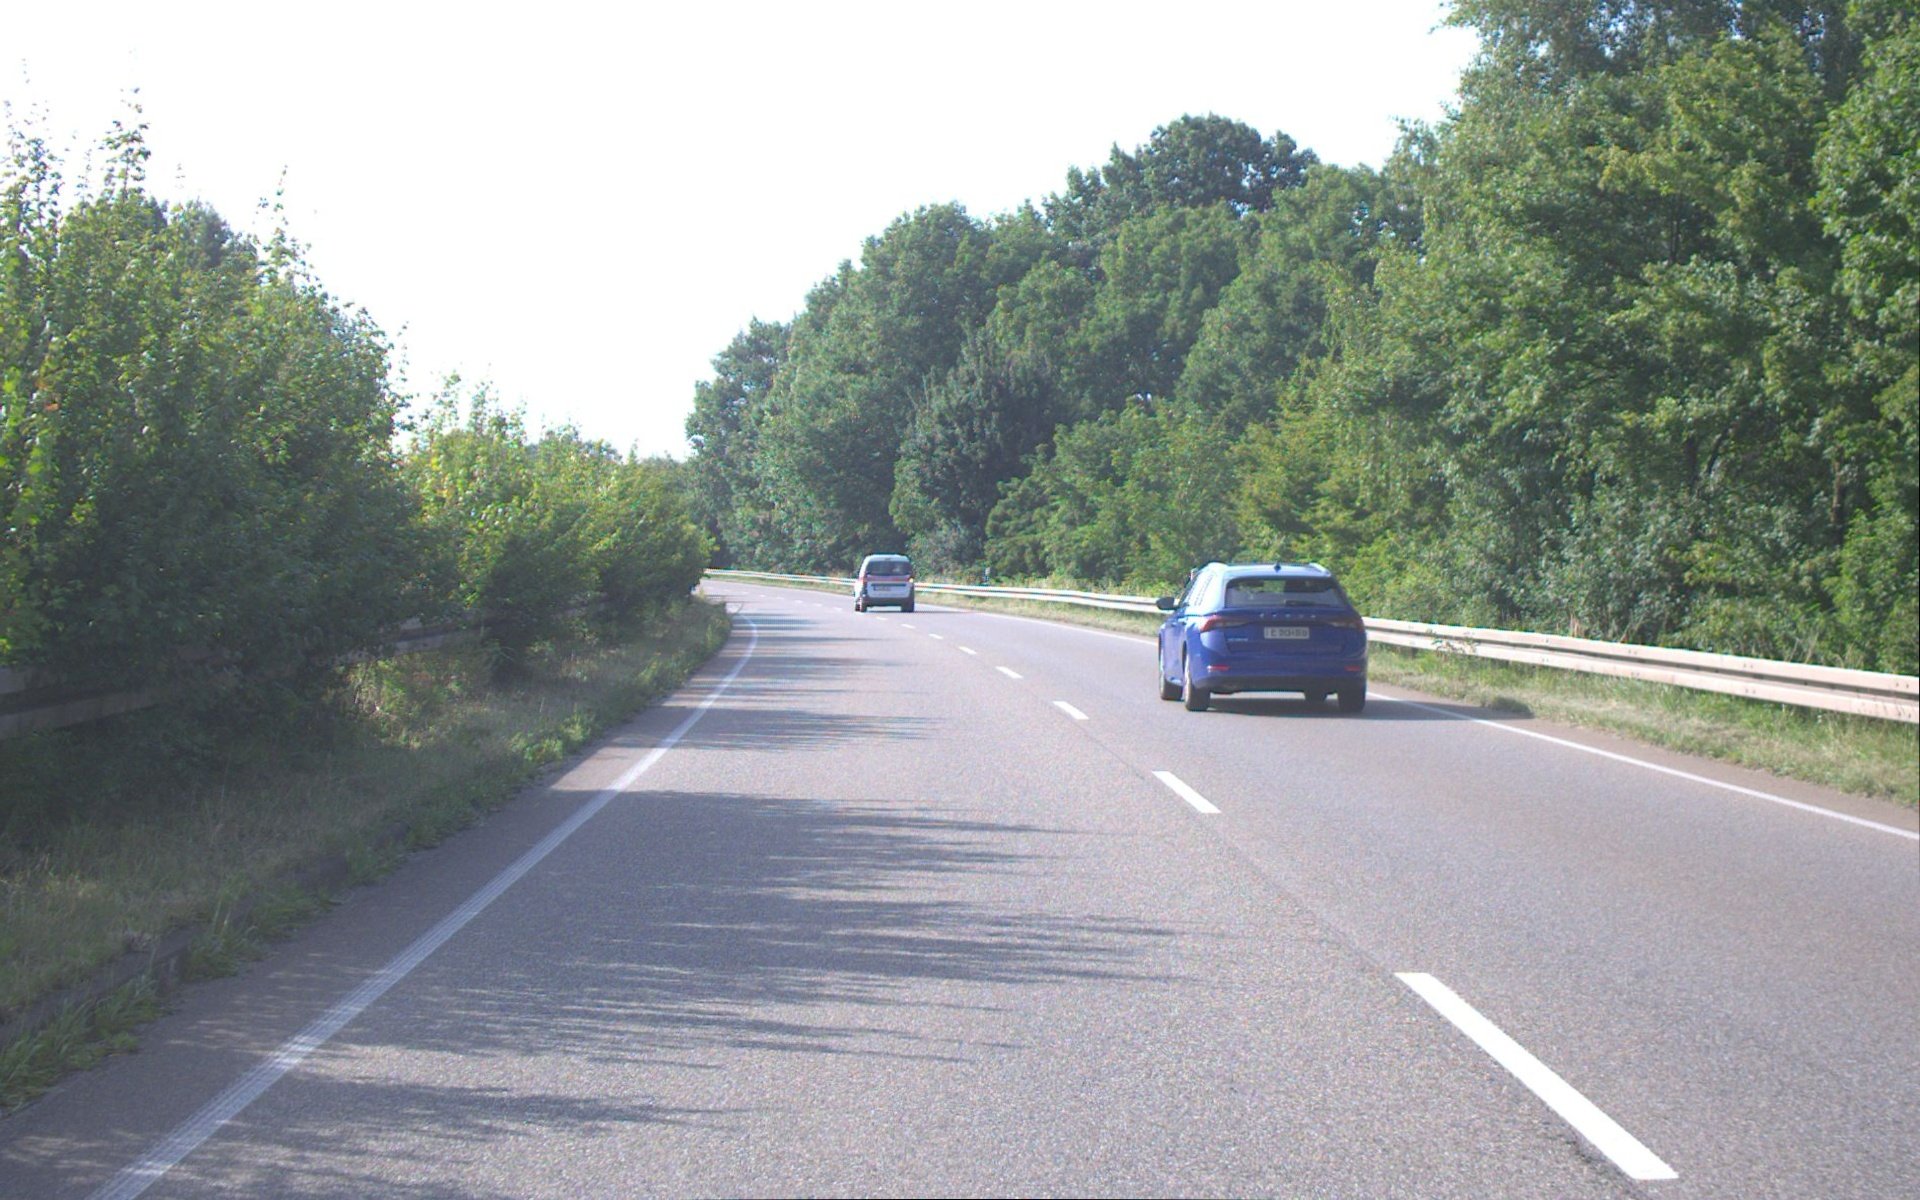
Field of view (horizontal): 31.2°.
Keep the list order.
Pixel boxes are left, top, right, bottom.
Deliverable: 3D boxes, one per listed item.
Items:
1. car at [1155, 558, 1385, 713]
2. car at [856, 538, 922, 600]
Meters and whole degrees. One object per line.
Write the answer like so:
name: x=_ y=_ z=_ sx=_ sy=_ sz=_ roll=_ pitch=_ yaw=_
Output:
car: x=3.051 y=0.314 z=34.618 sx=1.779 sy=1.446 sz=4.000 roll=1 pitch=1 yaw=-2
car: x=-2.273 y=-0.992 z=109.103 sx=1.765 sy=1.875 sz=4.001 roll=1 pitch=1 yaw=-5
